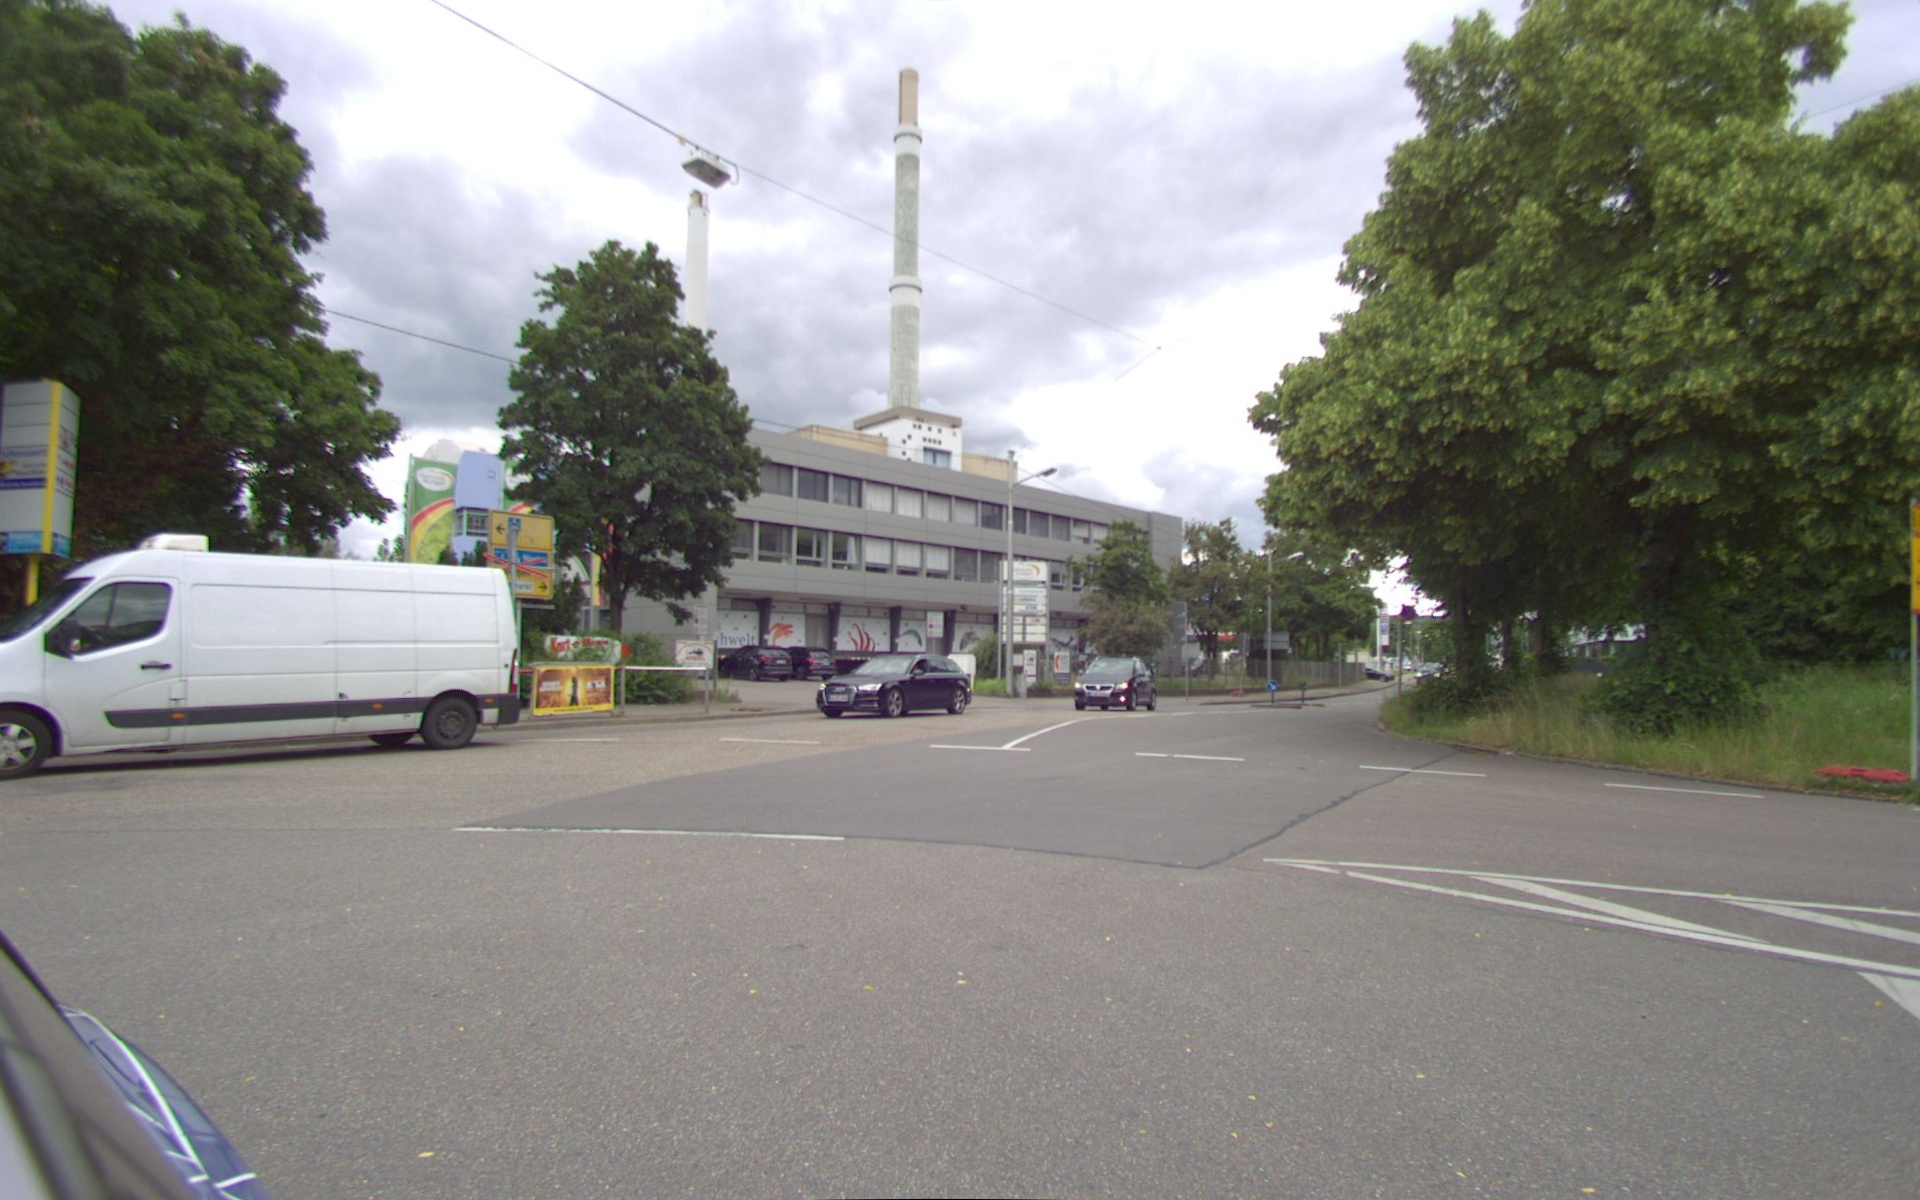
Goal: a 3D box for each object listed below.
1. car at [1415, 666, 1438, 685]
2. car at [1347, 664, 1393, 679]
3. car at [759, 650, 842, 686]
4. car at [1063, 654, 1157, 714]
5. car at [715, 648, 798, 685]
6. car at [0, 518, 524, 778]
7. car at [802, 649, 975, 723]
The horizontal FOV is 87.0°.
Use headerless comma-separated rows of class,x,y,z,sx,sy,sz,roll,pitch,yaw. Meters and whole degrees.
car,41.496,6.679,90.045,1.786,1.653,4.403,-2,-4,25
car,53.731,9.395,132.725,5.435,1.884,2.009,-2,-4,26
car,-8.065,3.398,50.912,1.812,1.630,4.426,4,-4,-45
car,4.568,2.473,30.266,1.784,1.653,4.407,-1,-4,22
car,-9.868,3.190,48.862,1.811,1.630,4.469,4,-4,-44
car,-8.727,0.621,12.120,2.386,2.478,6.023,-4,-5,37
car,-1.502,1.913,23.055,1.858,1.524,4.396,-2,-4,29
